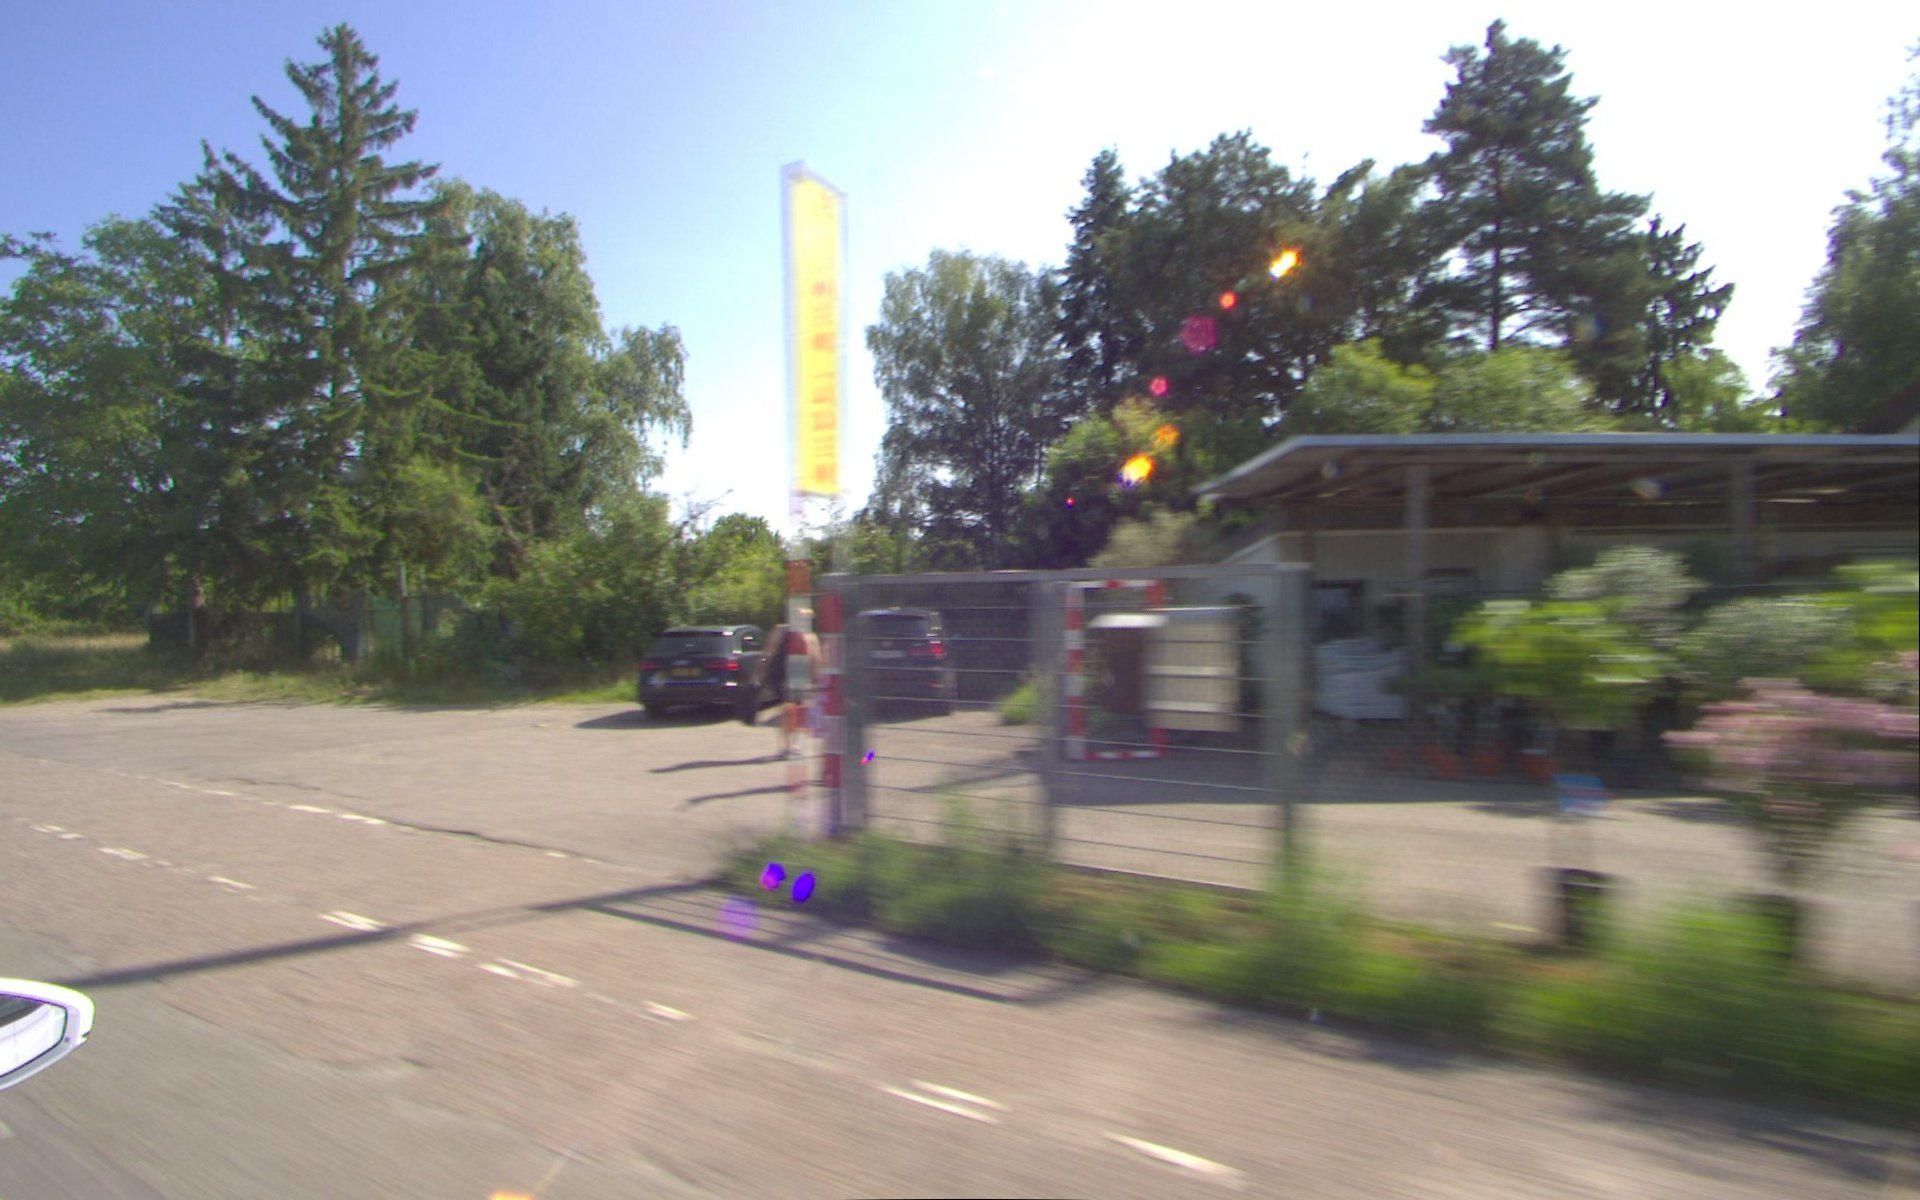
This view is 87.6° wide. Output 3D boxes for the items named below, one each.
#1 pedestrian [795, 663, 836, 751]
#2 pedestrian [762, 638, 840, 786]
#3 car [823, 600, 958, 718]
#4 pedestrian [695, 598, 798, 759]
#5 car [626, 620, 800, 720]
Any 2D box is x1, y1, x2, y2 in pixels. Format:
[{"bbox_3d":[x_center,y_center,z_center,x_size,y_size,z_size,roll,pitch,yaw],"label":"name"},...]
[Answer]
[{"bbox_3d":[-1.709,1.261,11.897,0.461,0.997,0.339,-1,1,-7],"label":"pedestrian"},{"bbox_3d":[-1.553,1.078,9.899,0.711,1.356,0.825,-1,0,-7],"label":"pedestrian"},{"bbox_3d":[-1.077,0.931,17.733,1.828,1.827,4.464,0,0,3],"label":"car"},{"bbox_3d":[-2.498,0.891,11.839,1.079,1.809,0.936,-1,1,-7],"label":"pedestrian"},{"bbox_3d":[-4.112,1.109,17.434,1.682,1.449,4.464,0,0,3],"label":"car"}]
